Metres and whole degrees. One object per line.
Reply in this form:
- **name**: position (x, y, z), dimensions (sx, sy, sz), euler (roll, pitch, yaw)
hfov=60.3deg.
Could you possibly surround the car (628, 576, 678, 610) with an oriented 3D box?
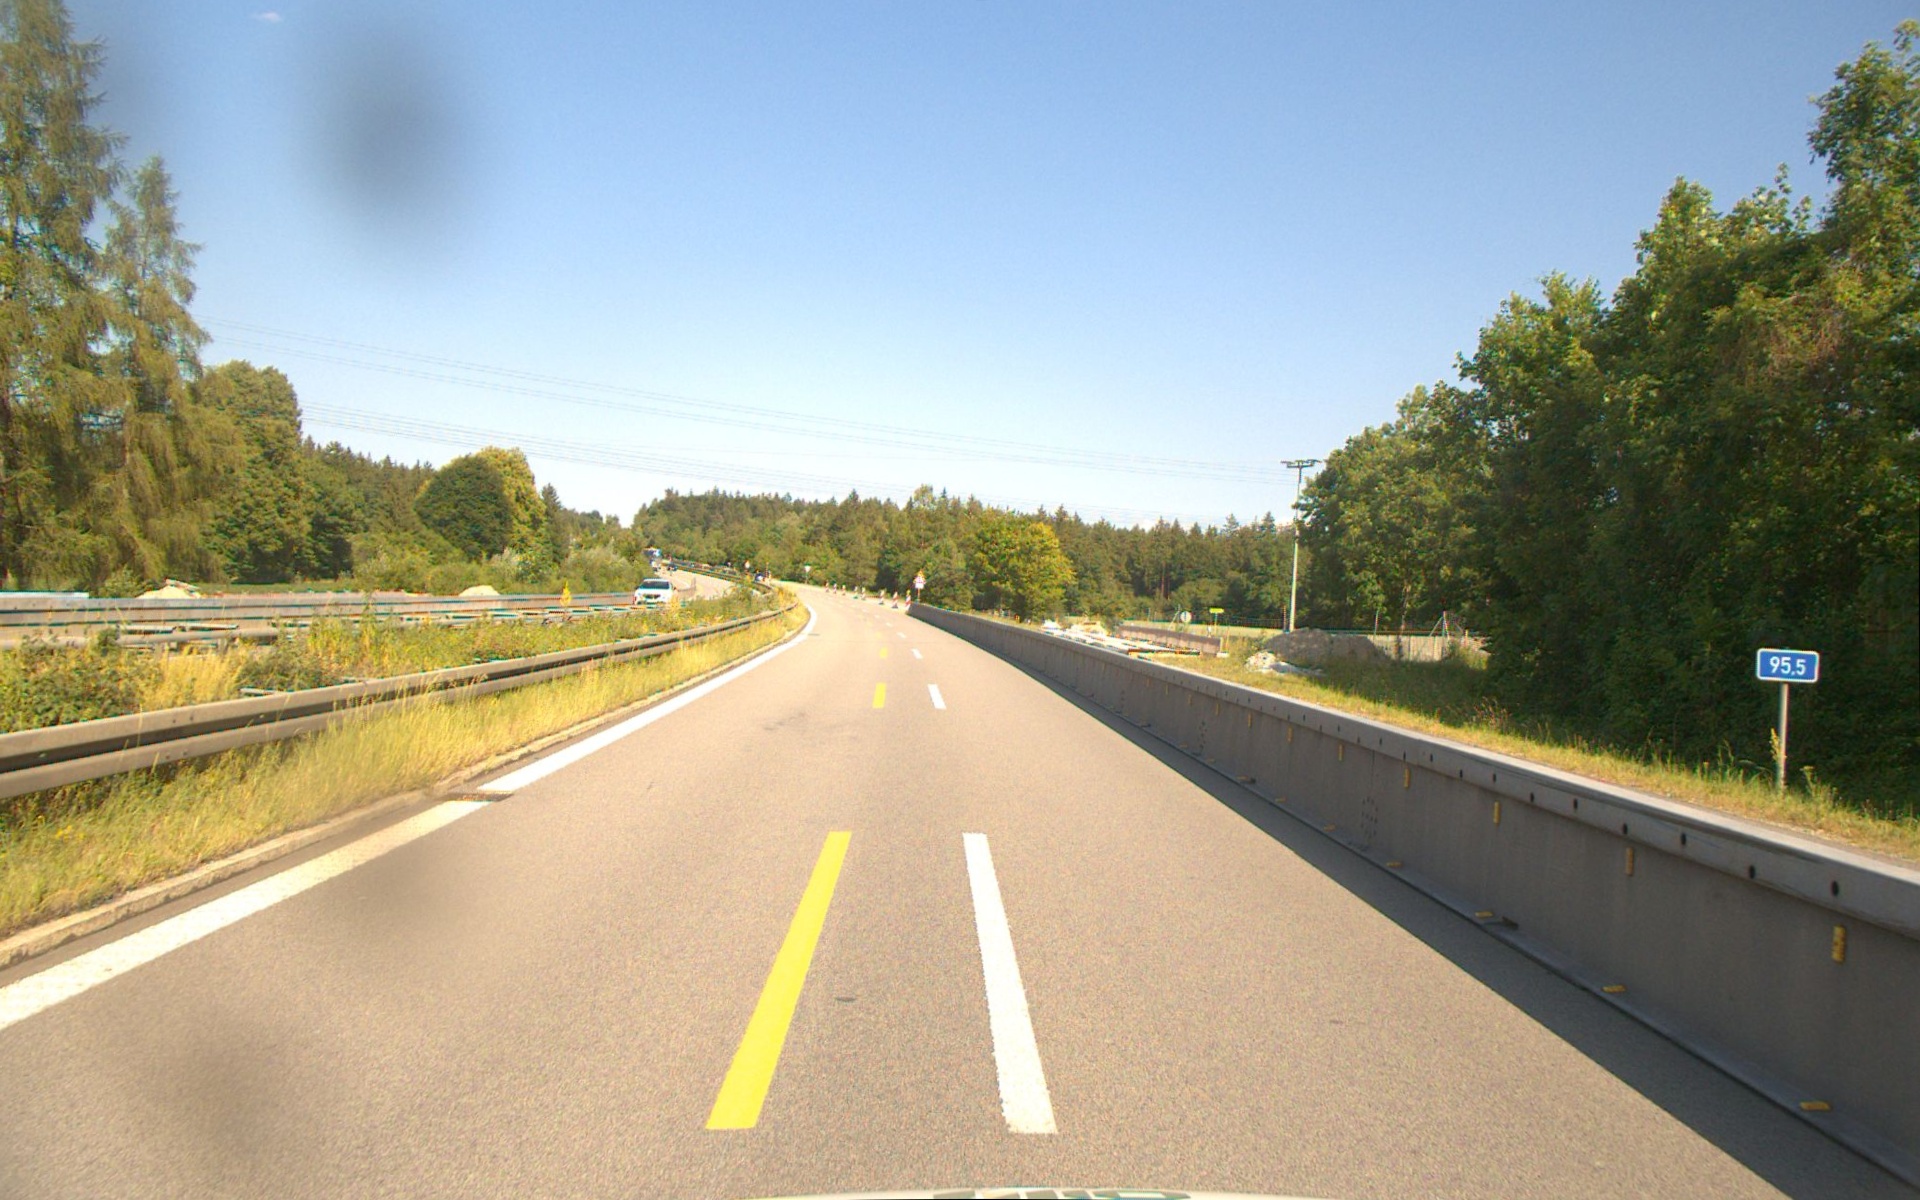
- **car**: position (-14.569, -0.327, 78.727), dimensions (1.725, 1.538, 4.531), euler (2, 0, -4)
